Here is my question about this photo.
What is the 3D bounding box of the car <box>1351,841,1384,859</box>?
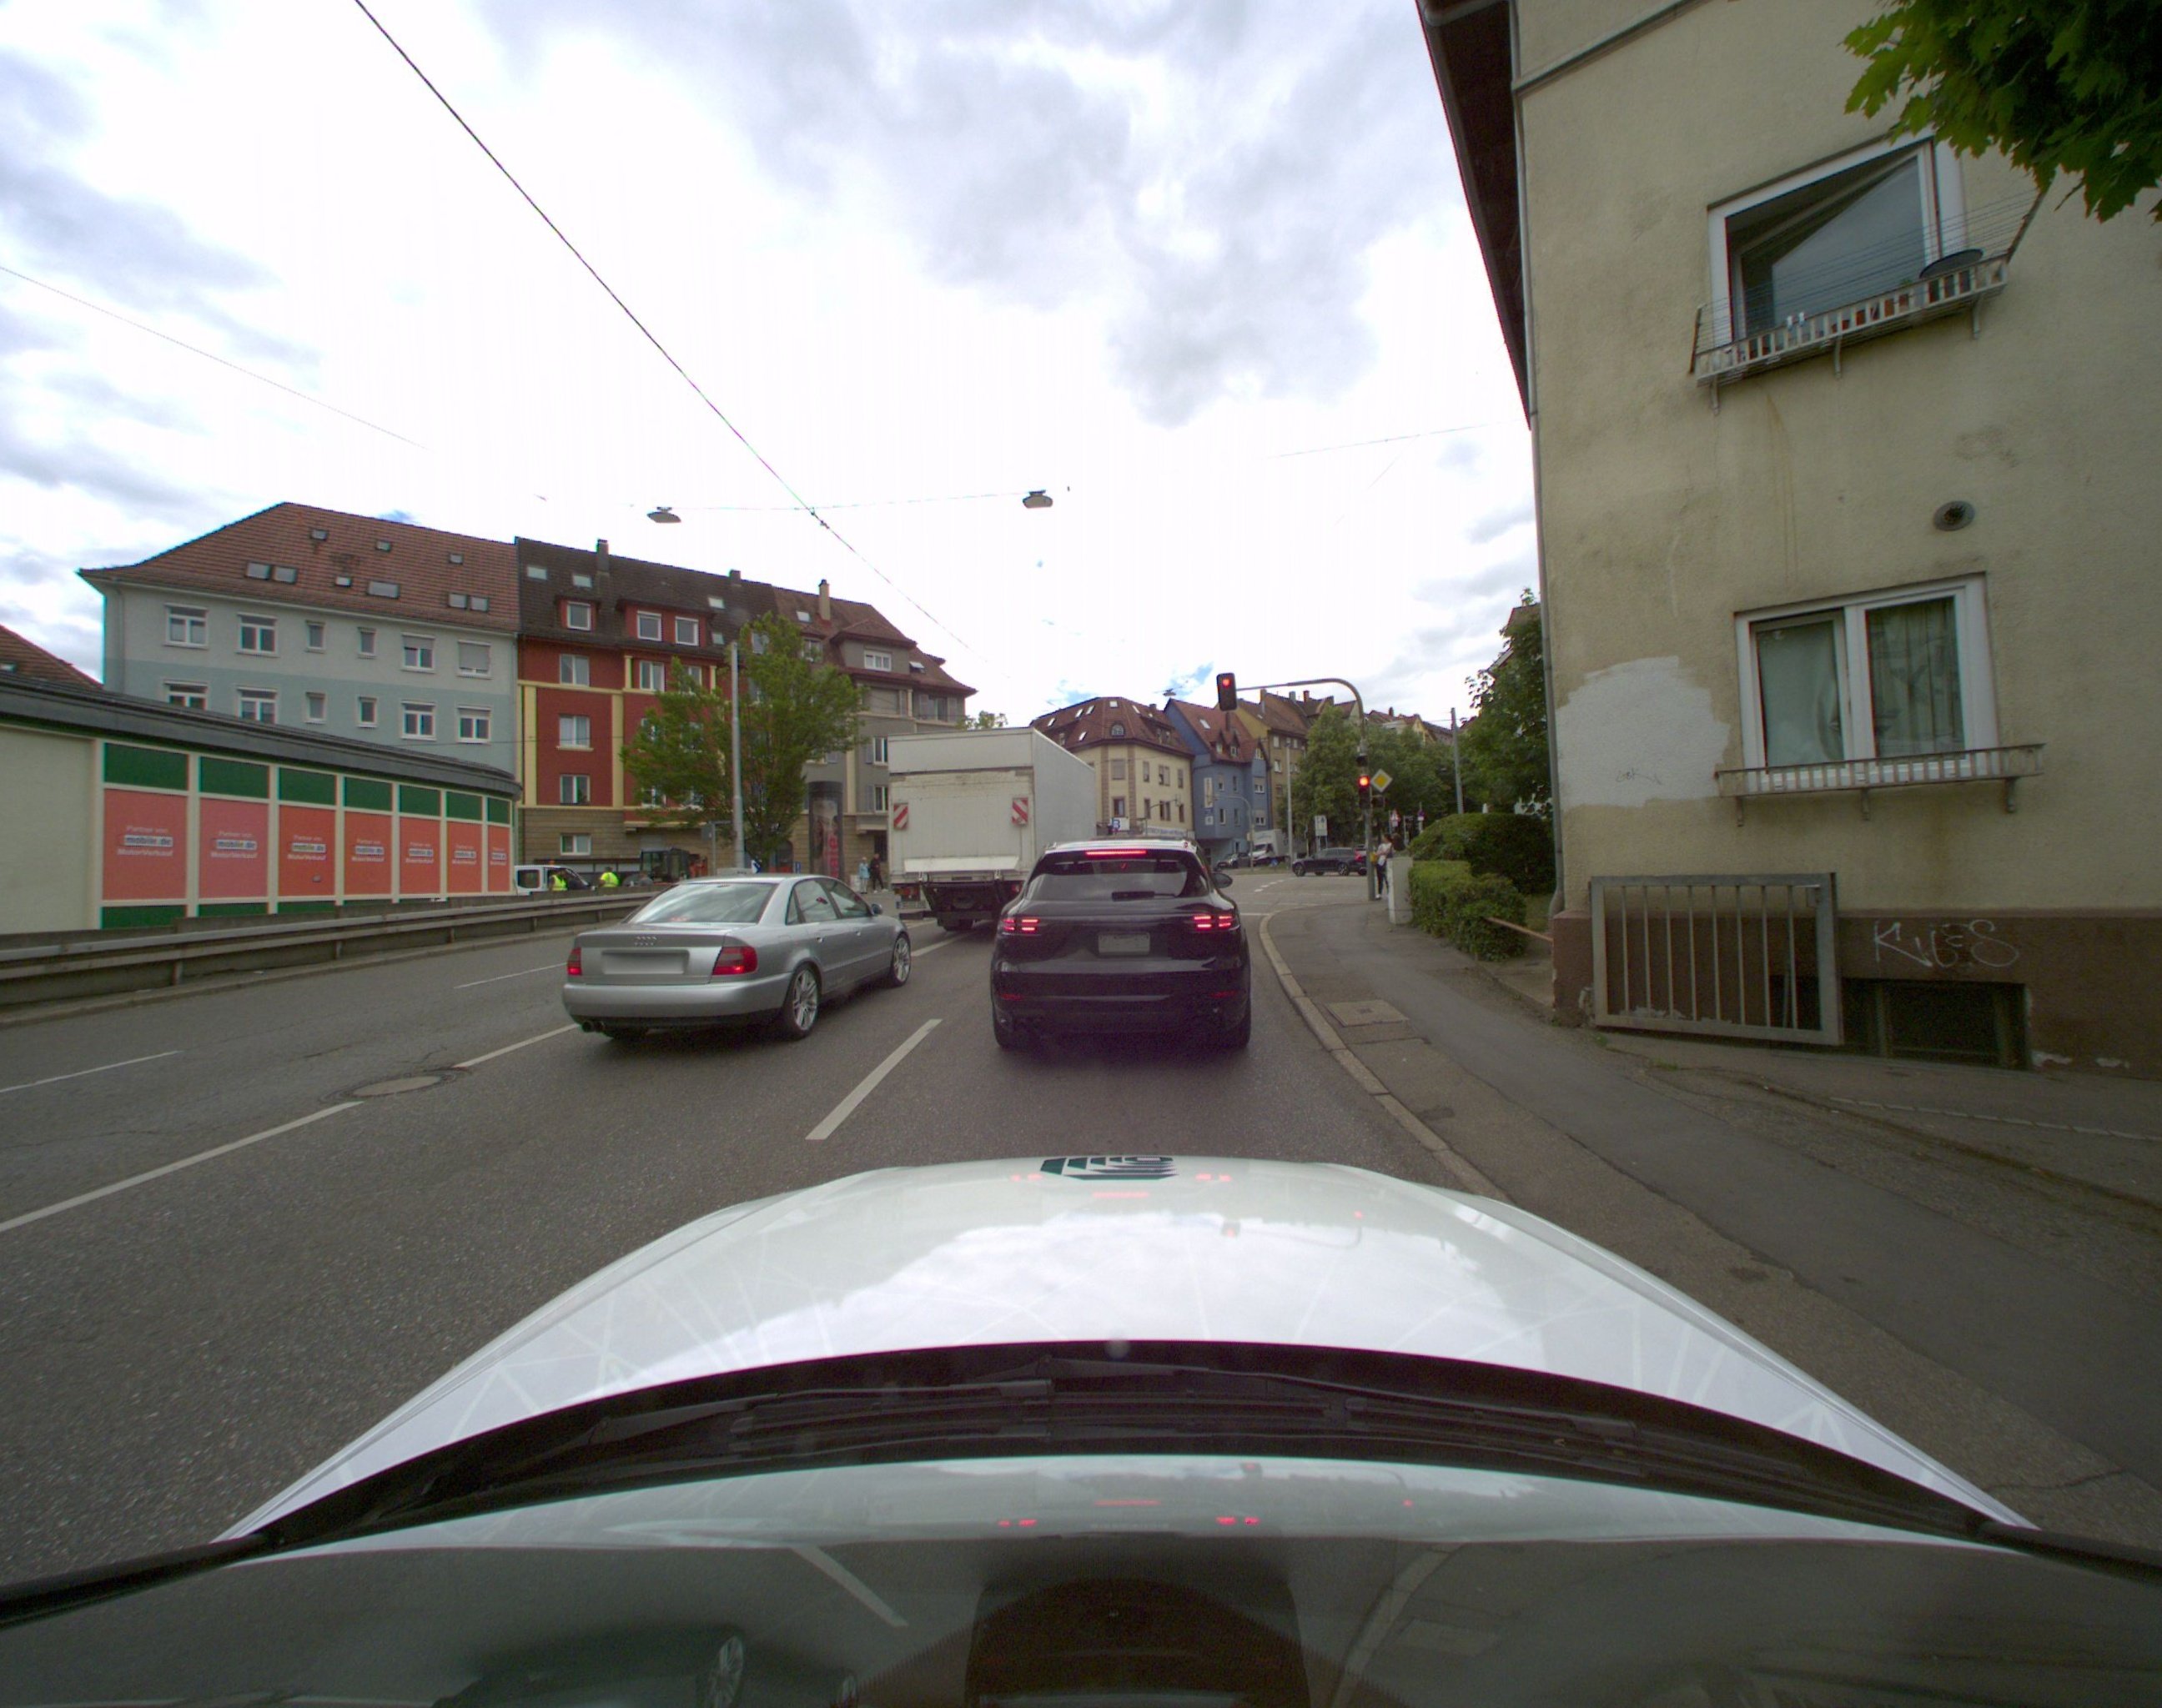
[{"bbox_3d":[32.278,-0.449,91.750,1.975,2.014,4.023,0,-1,45],"label":"car"}]

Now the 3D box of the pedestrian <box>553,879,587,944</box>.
[{"bbox_3d":[-13.702,1.530,21.847,0.562,1.700,0.541,1,-1,-10],"label":"pedestrian"}]

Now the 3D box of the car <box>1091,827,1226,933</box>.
[{"bbox_3d":[1.587,0.441,15.158,1.980,1.684,4.014,-1,0,12],"label":"car"}]

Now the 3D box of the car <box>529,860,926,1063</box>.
[{"bbox_3d":[-3.005,0.809,8.049,1.687,1.373,4.186,-1,1,7],"label":"car"}]

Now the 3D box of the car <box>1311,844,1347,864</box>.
[{"bbox_3d":[26.186,0.005,85.955,1.975,2.014,4.023,0,-1,45],"label":"car"}]

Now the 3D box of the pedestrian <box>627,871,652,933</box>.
[{"bbox_3d":[-12.589,1.365,23.210,0.545,1.730,0.587,1,-1,-33],"label":"pedestrian"}]

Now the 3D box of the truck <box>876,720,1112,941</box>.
[{"bbox_3d":[-1.313,-0.397,17.344,2.751,3.575,8.088,-1,0,10],"label":"truck"}]

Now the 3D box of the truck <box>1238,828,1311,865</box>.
[{"bbox_3d":[18.685,-0.642,78.274,2.846,3.340,8.846,0,0,43],"label":"truck"}]

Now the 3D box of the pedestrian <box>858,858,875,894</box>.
[{"bbox_3d":[-9.310,0.960,35.333,0.587,1.567,0.486,1,-1,1],"label":"pedestrian"}]

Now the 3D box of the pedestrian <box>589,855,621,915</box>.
[{"bbox_3d":[-14.148,0.908,24.216,0.570,1.761,0.616,1,-1,-7],"label":"pedestrian"}]

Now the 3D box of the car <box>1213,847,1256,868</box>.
[{"bbox_3d":[13.544,0.297,71.717,1.974,1.684,4.025,-2,-1,39],"label":"car"}]

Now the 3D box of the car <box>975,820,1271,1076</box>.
[{"bbox_3d":[0.263,0.613,7.515,1.973,1.684,3.998,-1,0,-1],"label":"car"}]

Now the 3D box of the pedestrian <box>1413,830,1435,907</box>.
[{"bbox_3d":[8.293,0.351,19.692,0.459,1.837,0.325,0,-1,16],"label":"pedestrian"}]

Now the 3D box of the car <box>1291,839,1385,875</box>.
[{"bbox_3d":[13.837,0.212,44.105,1.937,1.772,4.599,1,-3,-36],"label":"car"}]

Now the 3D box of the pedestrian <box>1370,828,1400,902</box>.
[{"bbox_3d":[7.631,0.274,20.490,0.586,1.819,0.530,1,-1,6],"label":"pedestrian"}]

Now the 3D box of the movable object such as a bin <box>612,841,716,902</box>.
[{"bbox_3d":[-13.190,0.528,26.039,1.903,1.771,3.984,1,0,-11],"label":"movable object such as a bin"}]

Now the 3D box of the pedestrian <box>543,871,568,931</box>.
[{"bbox_3d":[-15.538,1.378,24.077,0.479,1.730,0.536,1,-1,-44],"label":"pedestrian"}]
